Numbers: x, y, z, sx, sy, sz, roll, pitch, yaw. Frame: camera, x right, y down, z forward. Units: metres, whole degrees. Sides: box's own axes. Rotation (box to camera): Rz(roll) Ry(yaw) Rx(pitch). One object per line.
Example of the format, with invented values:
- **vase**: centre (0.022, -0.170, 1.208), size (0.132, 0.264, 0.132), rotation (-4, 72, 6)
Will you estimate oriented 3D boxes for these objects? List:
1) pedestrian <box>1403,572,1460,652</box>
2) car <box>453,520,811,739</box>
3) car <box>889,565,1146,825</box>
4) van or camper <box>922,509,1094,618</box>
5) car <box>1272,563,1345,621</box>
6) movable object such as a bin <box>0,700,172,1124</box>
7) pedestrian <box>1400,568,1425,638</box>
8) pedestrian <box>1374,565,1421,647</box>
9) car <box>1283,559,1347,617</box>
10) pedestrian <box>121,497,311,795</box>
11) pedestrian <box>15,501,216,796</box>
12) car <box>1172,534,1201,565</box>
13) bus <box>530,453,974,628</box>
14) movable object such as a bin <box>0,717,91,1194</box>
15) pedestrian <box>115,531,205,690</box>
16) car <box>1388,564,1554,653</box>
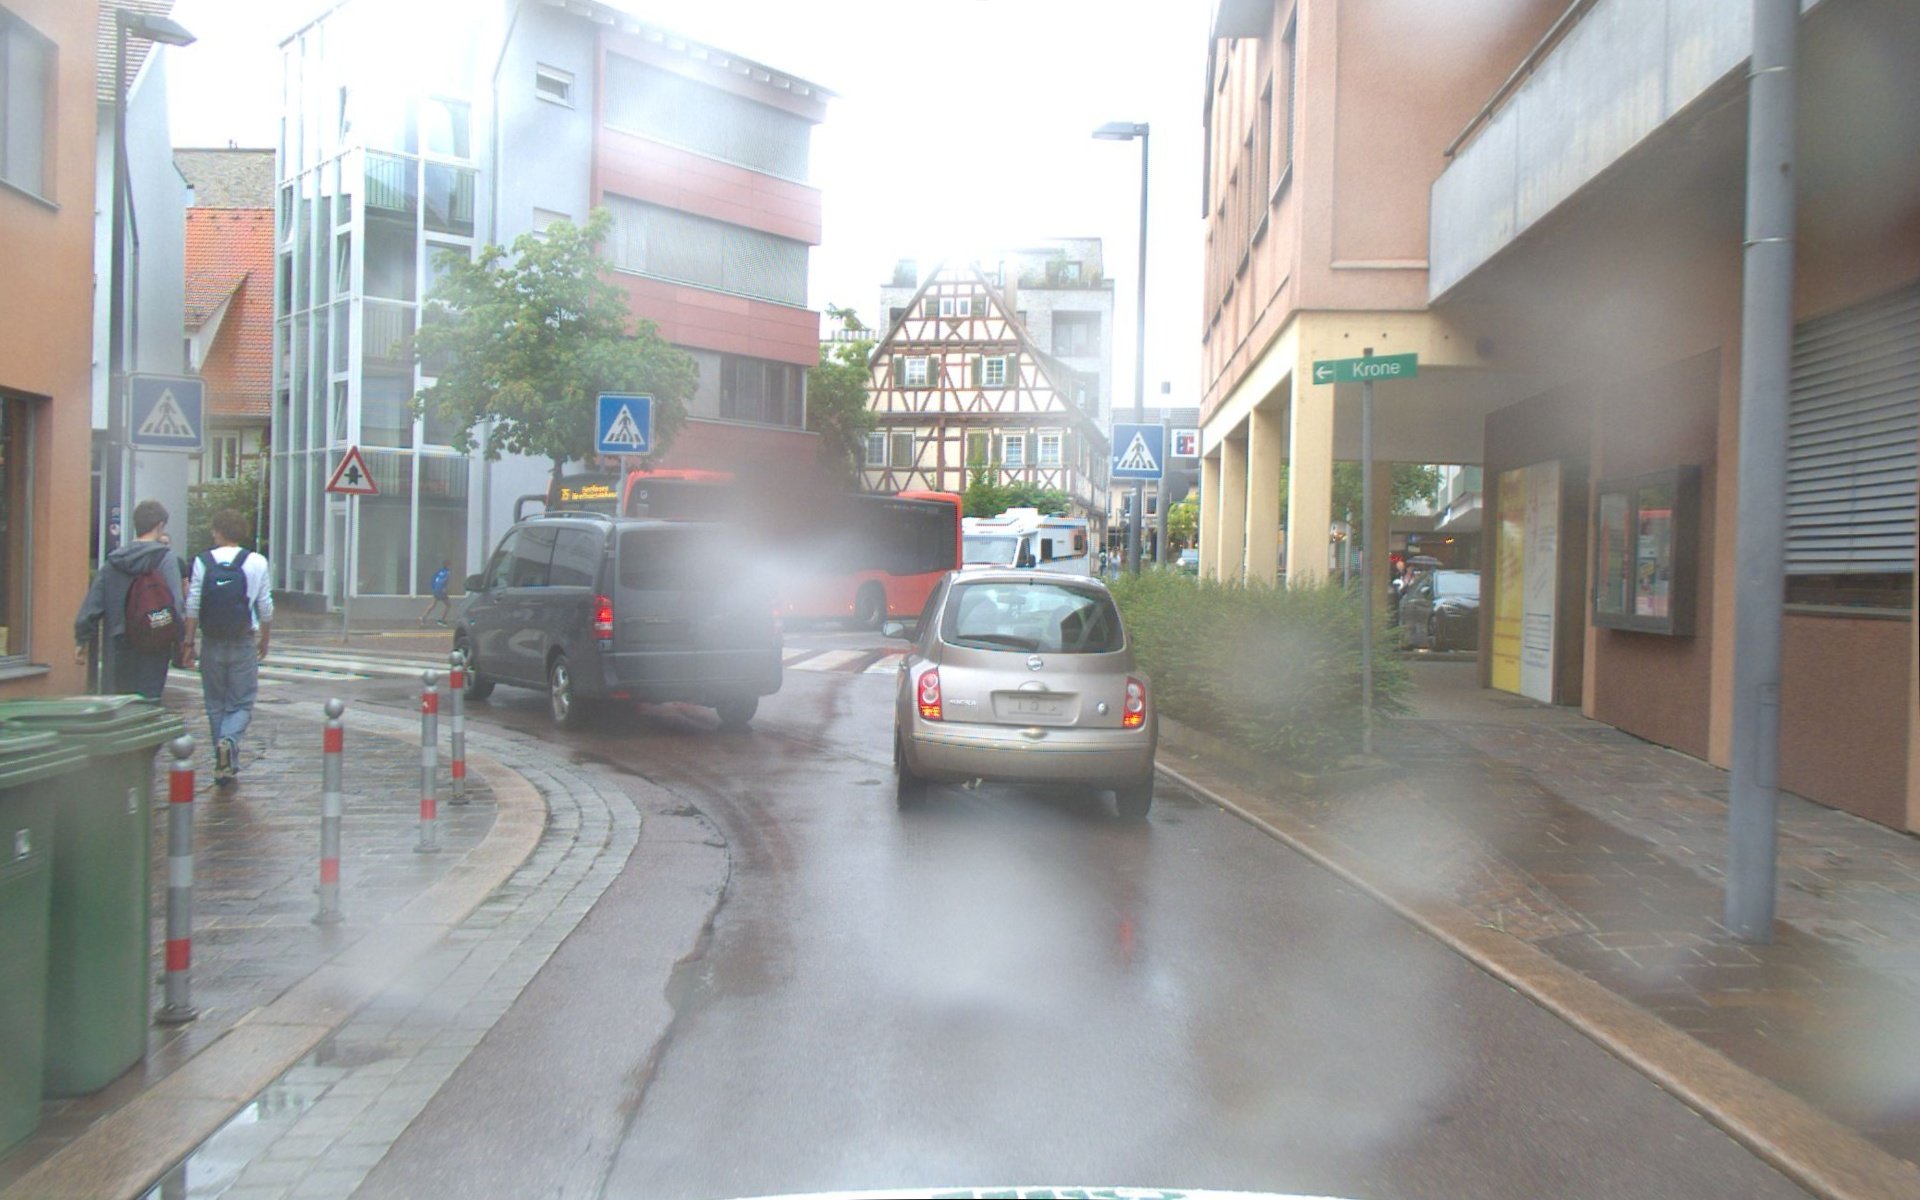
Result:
- **pedestrian**: centre (9.984, 0.246, 35.024), size (0.948, 1.667, 0.731), rotation (2, 1, 36)
- **car**: centre (-3.364, 0.179, 16.169), size (1.927, 1.812, 4.676), rotation (1, 1, -32)
- **car**: centre (0.290, 0.527, 11.388), size (1.491, 1.496, 3.341), rotation (1, 1, -2)
- **van or camper**: centre (1.425, -0.942, 44.274), size (2.388, 2.630, 6.751), rotation (2, 1, 22)
- **car**: centre (9.030, -0.226, 42.671), size (1.504, 1.385, 3.375), rotation (2, 1, 17)
- **movable object such as a bin**: centre (-2.634, 0.829, 4.586), size (0.644, 1.054, 0.609), rotation (0, 1, -7)
- **pedestrian**: centre (10.009, 0.068, 36.597), size (0.486, 1.535, 0.491), rotation (1, 1, 12)
- **pedestrian**: centre (9.155, 0.113, 34.611), size (0.684, 1.690, 0.818), rotation (1, 1, 35)
- **car**: centre (10.117, -0.366, 47.294), size (1.589, 1.527, 4.004), rotation (-1, 1, 10)
- **pedestrian**: centre (-4.839, 0.275, 10.819), size (0.649, 1.838, 1.062), rotation (1, 1, 8)
- **pedestrian**: centre (-5.508, 0.292, 10.850), size (0.677, 1.832, 1.059), rotation (1, 1, 7)
- **car**: centre (13.757, -3.050, 100.439), size (1.552, 1.742, 3.324), rotation (1, 1, 10)
- **bus**: centre (-3.926, -1.164, 34.816), size (2.766, 3.142, 10.565), rotation (1, 1, 36)
- **movable object such as a bin**: centre (-2.536, 0.830, 3.929), size (0.644, 1.055, 0.609), rotation (1, 1, -7)
- **pedestrian**: centre (-8.432, 0.105, 17.457), size (0.647, 1.638, 0.683), rotation (1, 1, -8)
- **car**: centre (8.251, 0.096, 27.069), size (1.725, 1.298, 4.475), rotation (1, 1, 6)
